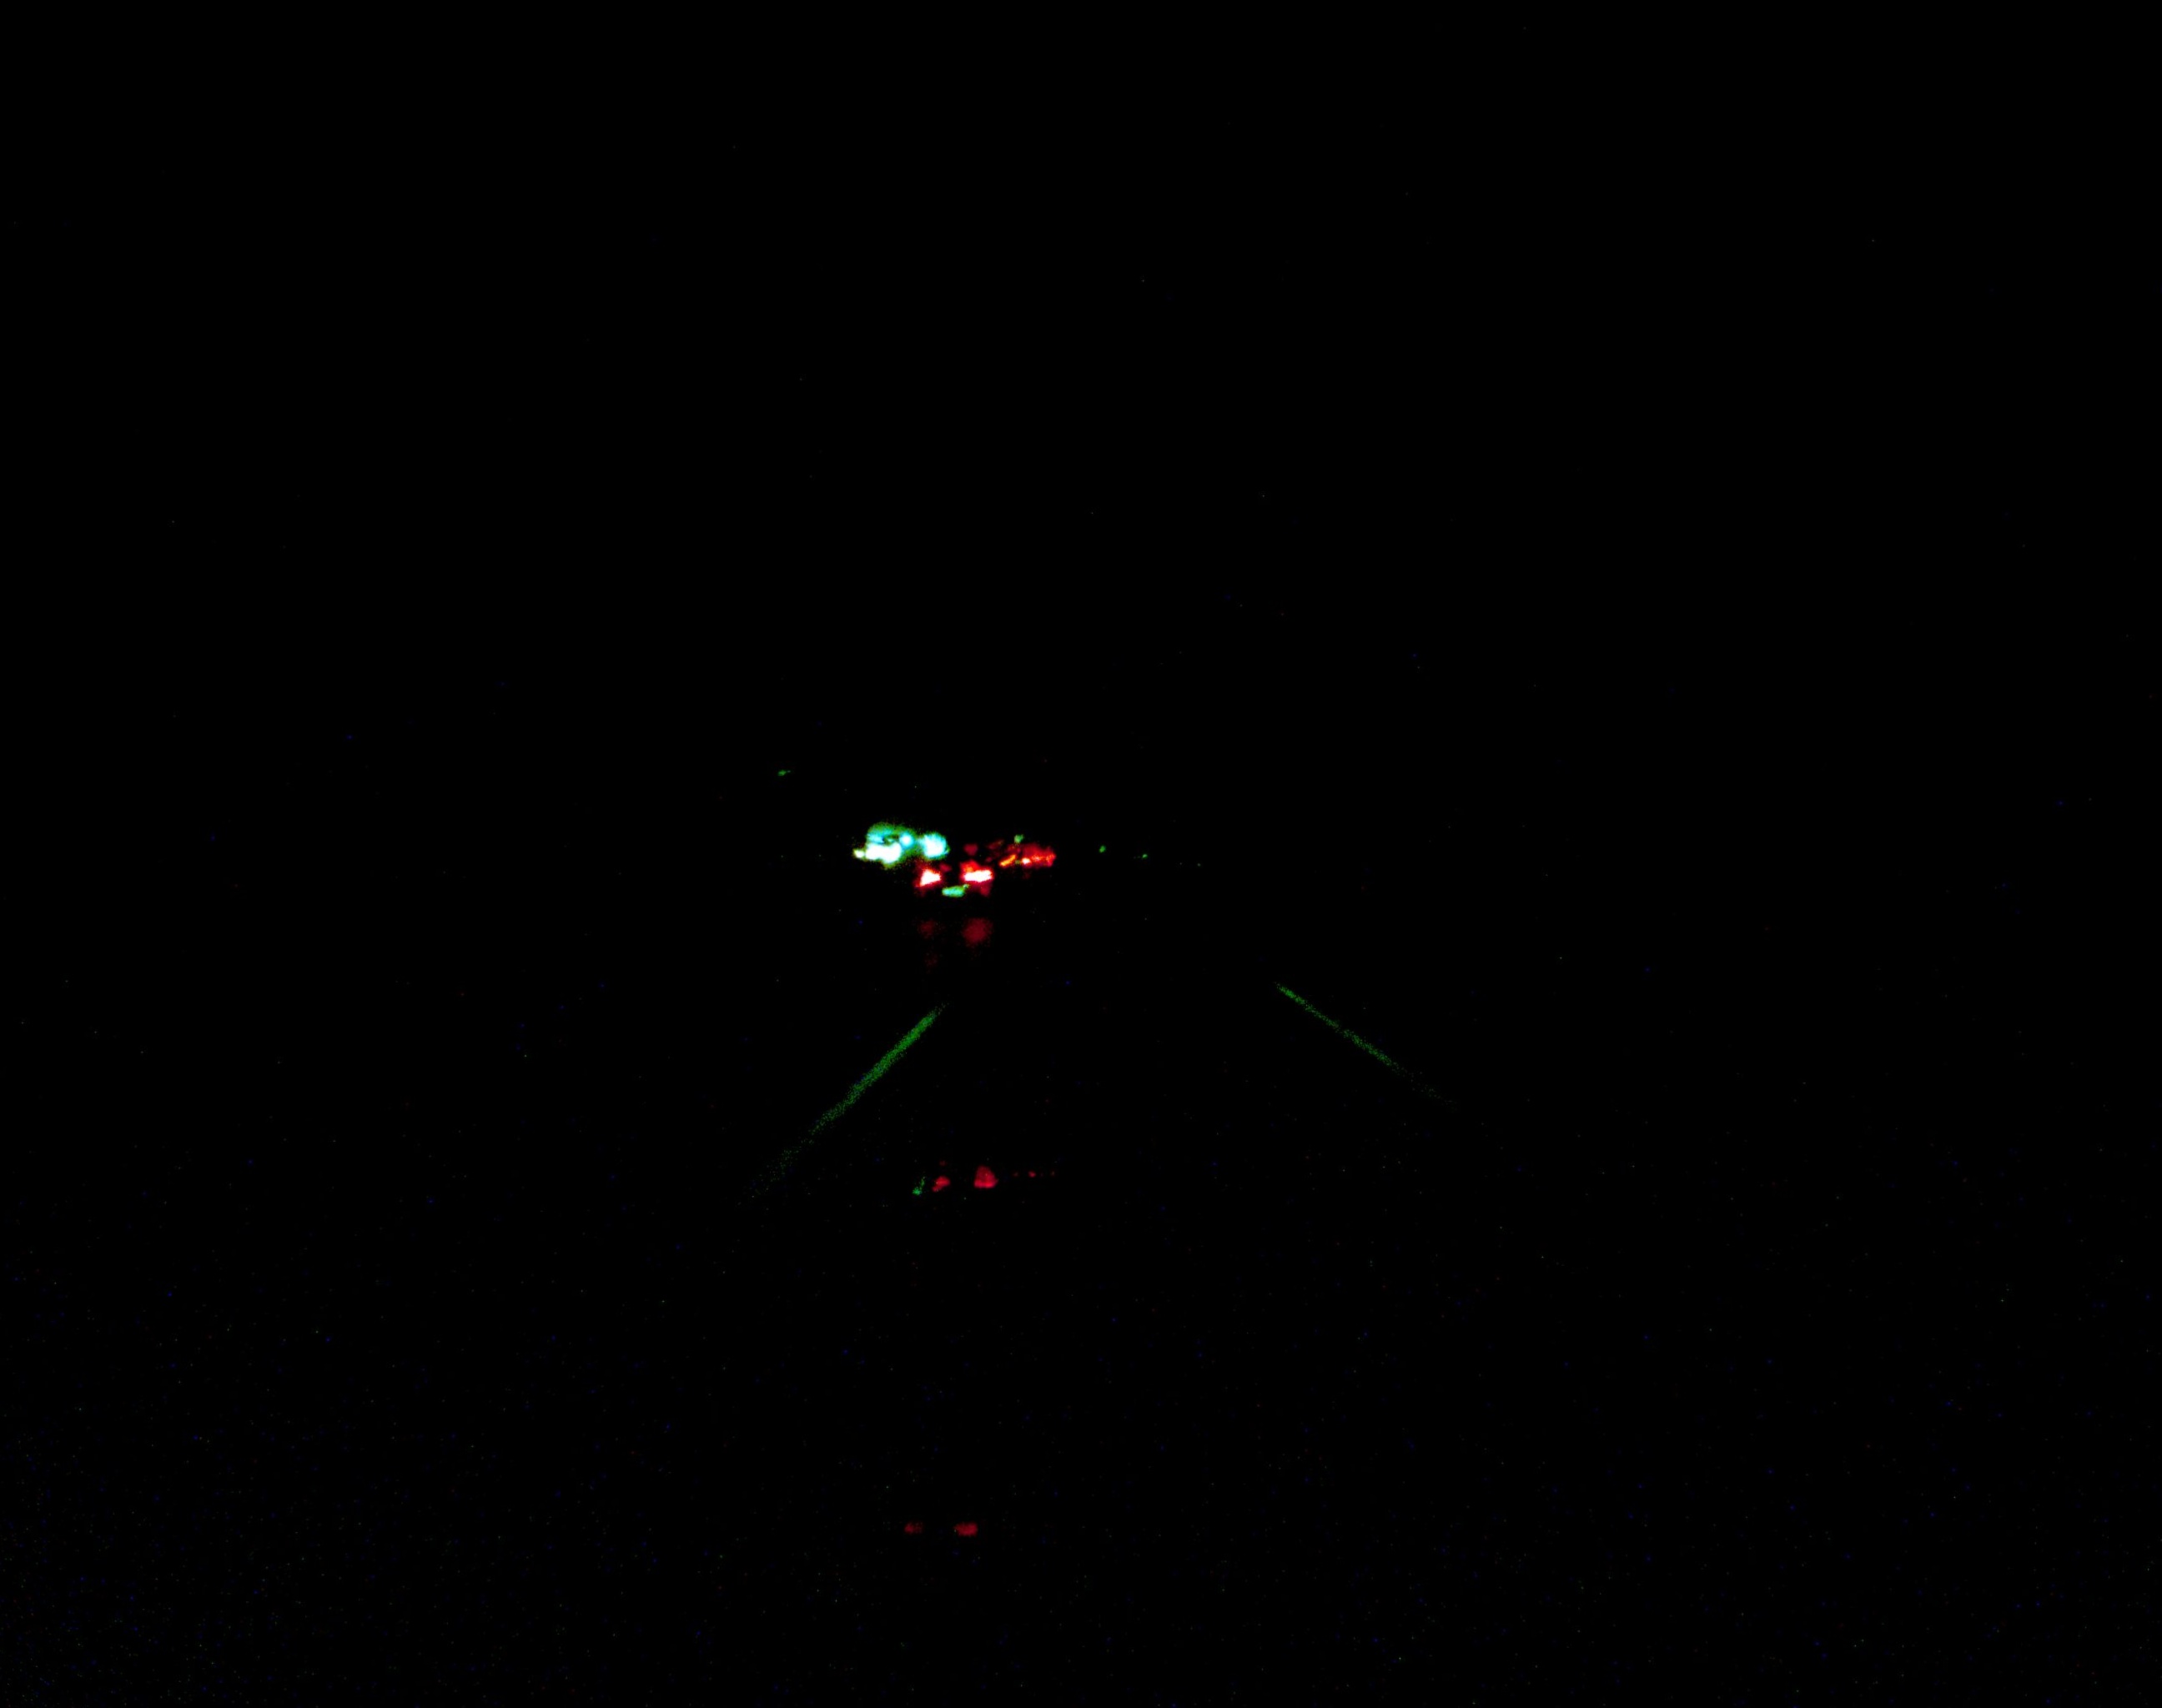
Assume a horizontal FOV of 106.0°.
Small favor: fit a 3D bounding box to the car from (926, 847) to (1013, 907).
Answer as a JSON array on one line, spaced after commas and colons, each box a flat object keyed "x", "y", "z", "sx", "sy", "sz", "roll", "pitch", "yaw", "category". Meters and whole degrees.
[{"x": -3.246, "y": 0.639, "z": 24.581, "sx": 1.852, "sy": 1.540, "sz": 4.750, "roll": 3, "pitch": 0, "yaw": 0, "category": "car"}]

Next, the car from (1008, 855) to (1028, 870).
[{"x": -5.295, "y": 0.715, "z": 68.640, "sx": 1.659, "sy": 1.236, "sz": 3.756, "roll": 0, "pitch": 0, "yaw": -4, "category": "car"}]

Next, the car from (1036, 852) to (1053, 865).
[{"x": -4.276, "y": 0.491, "z": 95.236, "sx": 1.796, "sy": 1.487, "sz": 3.999, "roll": -1, "pitch": 0, "yaw": 0, "category": "car"}]
